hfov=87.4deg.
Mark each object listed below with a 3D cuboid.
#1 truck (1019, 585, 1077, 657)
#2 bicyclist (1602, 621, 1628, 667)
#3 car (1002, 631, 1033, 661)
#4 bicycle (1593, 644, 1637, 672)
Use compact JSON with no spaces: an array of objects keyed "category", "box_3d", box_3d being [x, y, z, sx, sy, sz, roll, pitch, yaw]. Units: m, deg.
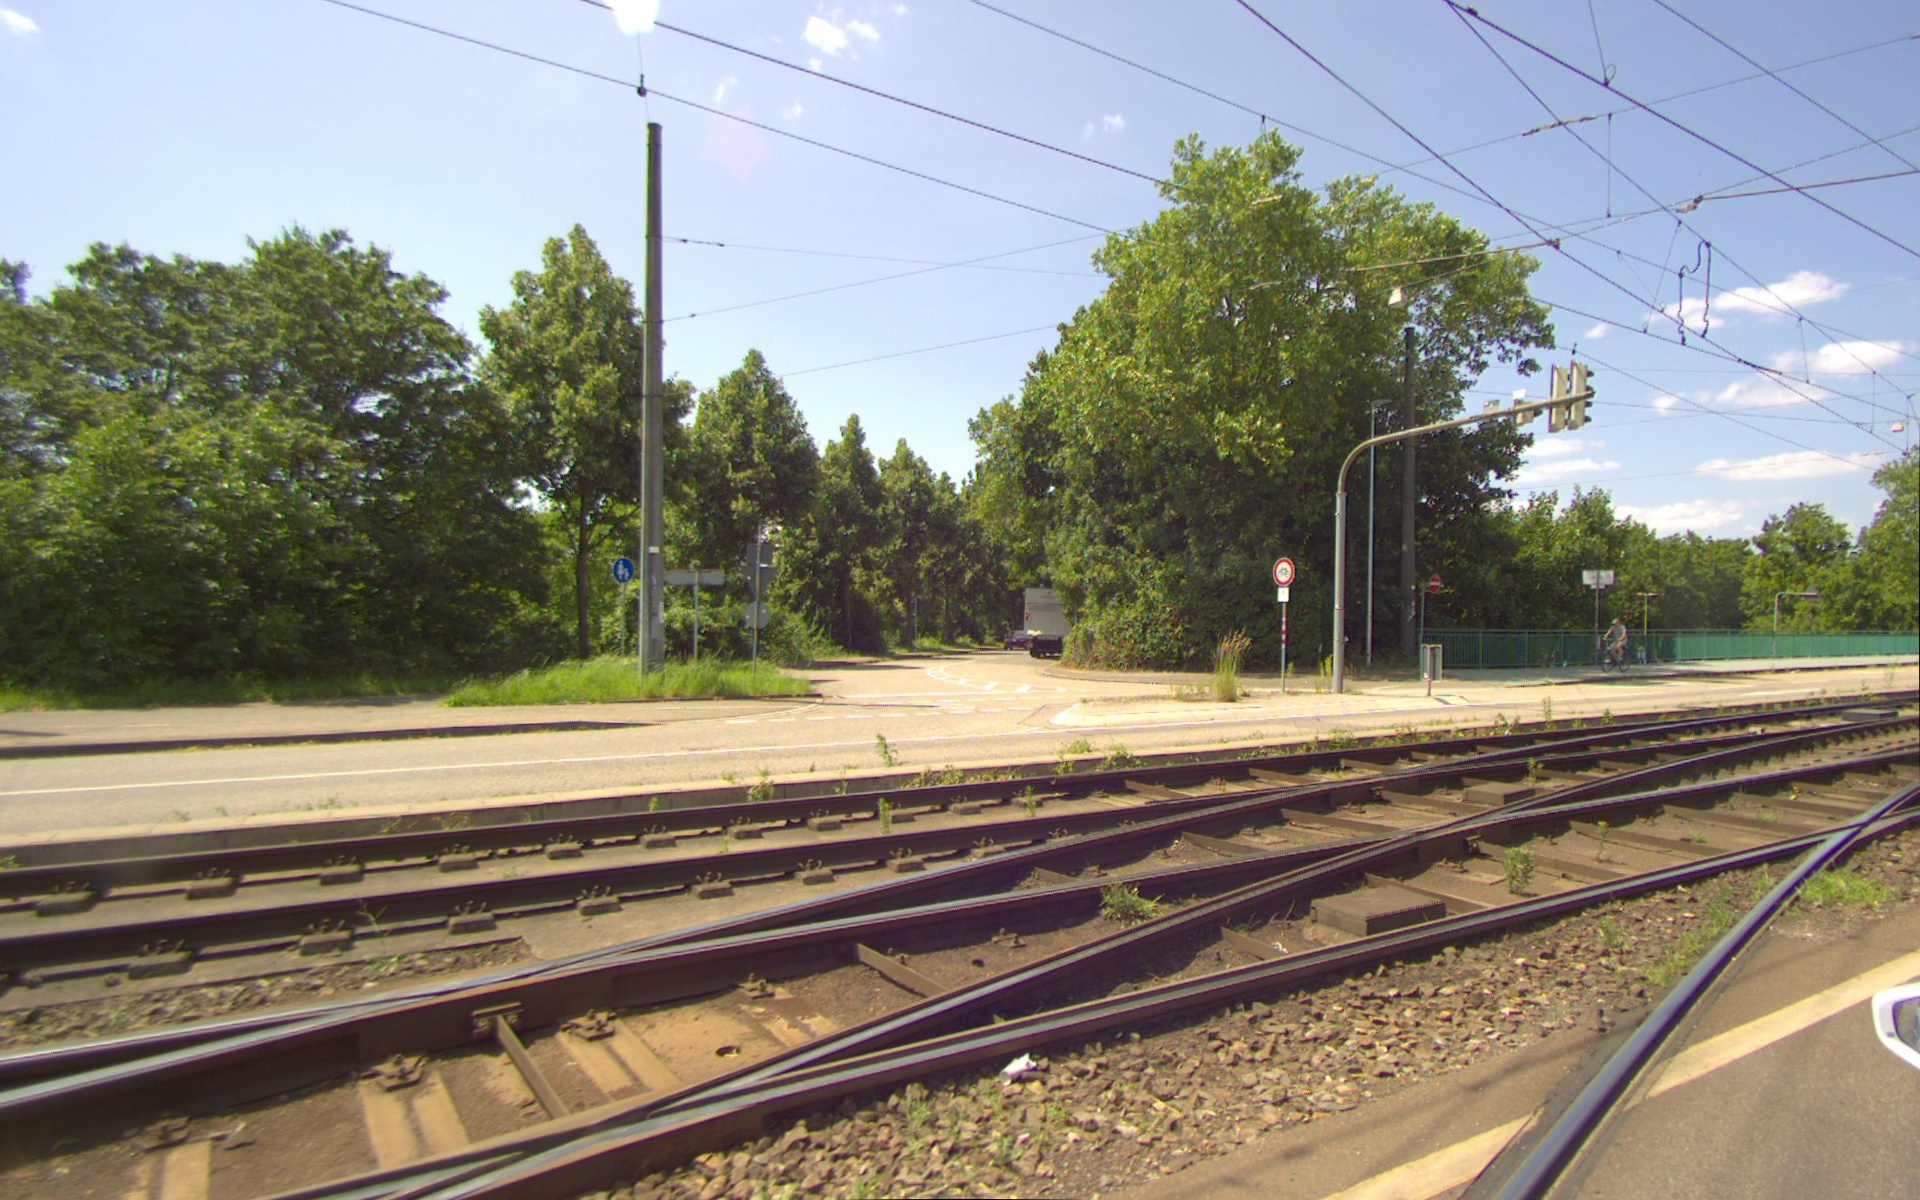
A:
[{"category":"truck","box_3d":[4.886,1.148,54.863,2.790,3.703,5.295,1,-1,9]},{"category":"bicyclist","box_3d":[21.791,1.470,33.415,0.625,1.493,0.454,1,0,-30]},{"category":"car","box_3d":[4.362,3.457,76.085,1.959,2.040,4.002,2,0,8]},{"category":"bicycle","box_3d":[21.805,1.917,33.423,1.722,0.880,0.466,2,0,-30]}]
